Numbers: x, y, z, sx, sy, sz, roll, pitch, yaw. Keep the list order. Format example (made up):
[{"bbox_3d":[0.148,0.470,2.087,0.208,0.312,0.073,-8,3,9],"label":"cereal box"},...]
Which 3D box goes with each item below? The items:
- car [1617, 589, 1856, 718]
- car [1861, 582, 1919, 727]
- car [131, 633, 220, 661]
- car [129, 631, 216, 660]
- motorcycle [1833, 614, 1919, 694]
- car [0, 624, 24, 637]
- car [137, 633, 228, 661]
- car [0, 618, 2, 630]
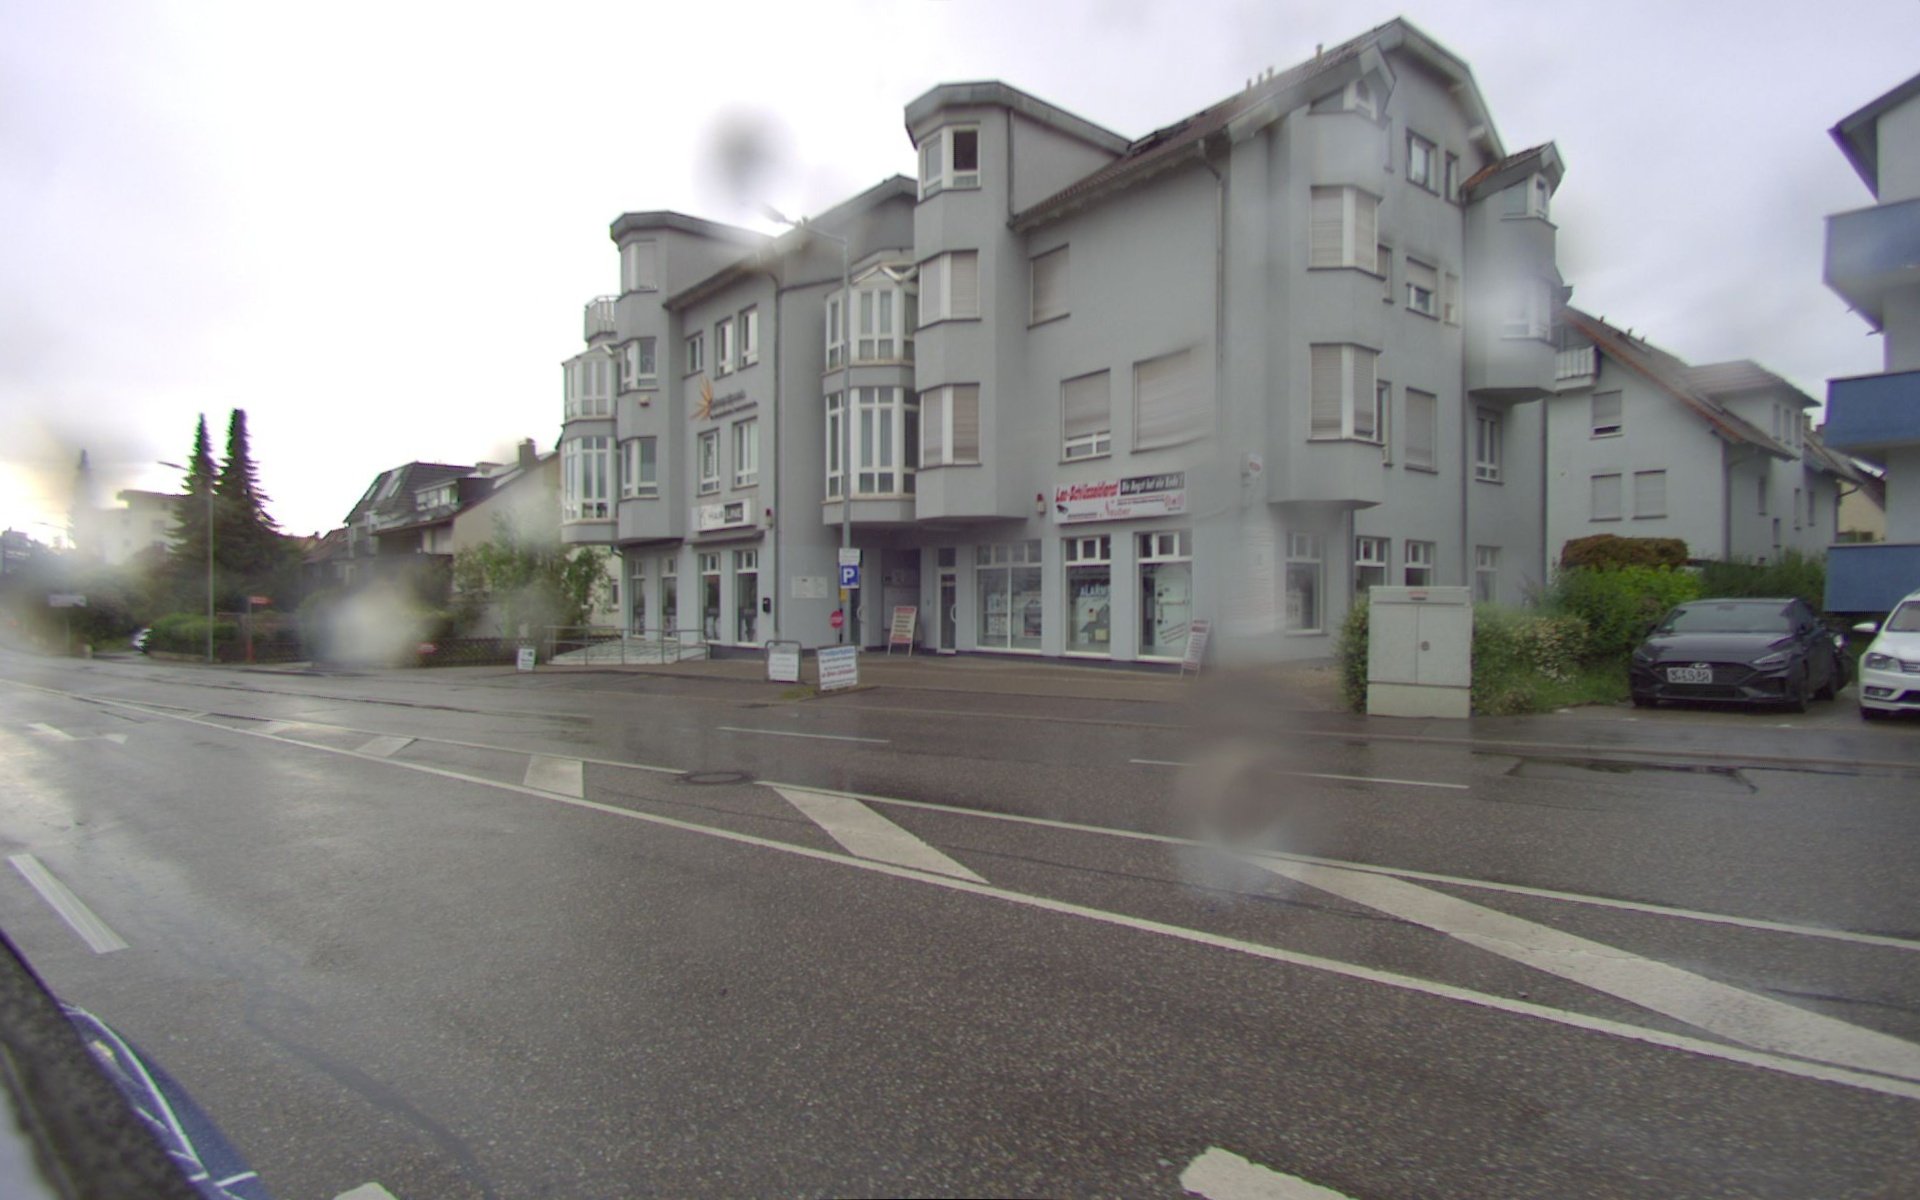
[{"bbox_3d":[10.274,0.620,13.286,3.940,1.421,1.906,0,-2,-44],"label":"car"},{"bbox_3d":[11.653,0.542,11.406,4.170,1.485,1.906,0,-2,-44],"label":"car"},{"bbox_3d":[-47.179,2.790,60.927,4.097,1.453,1.892,-1,-1,-43],"label":"car"},{"bbox_3d":[-49.000,2.795,62.982,4.058,1.557,2.001,-1,-1,-45],"label":"car"},{"bbox_3d":[14.548,0.745,14.355,3.111,1.108,0.869,-2,-1,24],"label":"motorcycle"},{"bbox_3d":[-121.123,3.891,129.313,1.968,1.628,4.007,1,-2,-39],"label":"car"},{"bbox_3d":[-45.392,2.708,59.124,3.979,1.453,1.814,-1,-1,-45],"label":"car"},{"bbox_3d":[-145.751,3.658,152.492,1.824,1.777,4.128,1,-2,-39],"label":"car"}]
